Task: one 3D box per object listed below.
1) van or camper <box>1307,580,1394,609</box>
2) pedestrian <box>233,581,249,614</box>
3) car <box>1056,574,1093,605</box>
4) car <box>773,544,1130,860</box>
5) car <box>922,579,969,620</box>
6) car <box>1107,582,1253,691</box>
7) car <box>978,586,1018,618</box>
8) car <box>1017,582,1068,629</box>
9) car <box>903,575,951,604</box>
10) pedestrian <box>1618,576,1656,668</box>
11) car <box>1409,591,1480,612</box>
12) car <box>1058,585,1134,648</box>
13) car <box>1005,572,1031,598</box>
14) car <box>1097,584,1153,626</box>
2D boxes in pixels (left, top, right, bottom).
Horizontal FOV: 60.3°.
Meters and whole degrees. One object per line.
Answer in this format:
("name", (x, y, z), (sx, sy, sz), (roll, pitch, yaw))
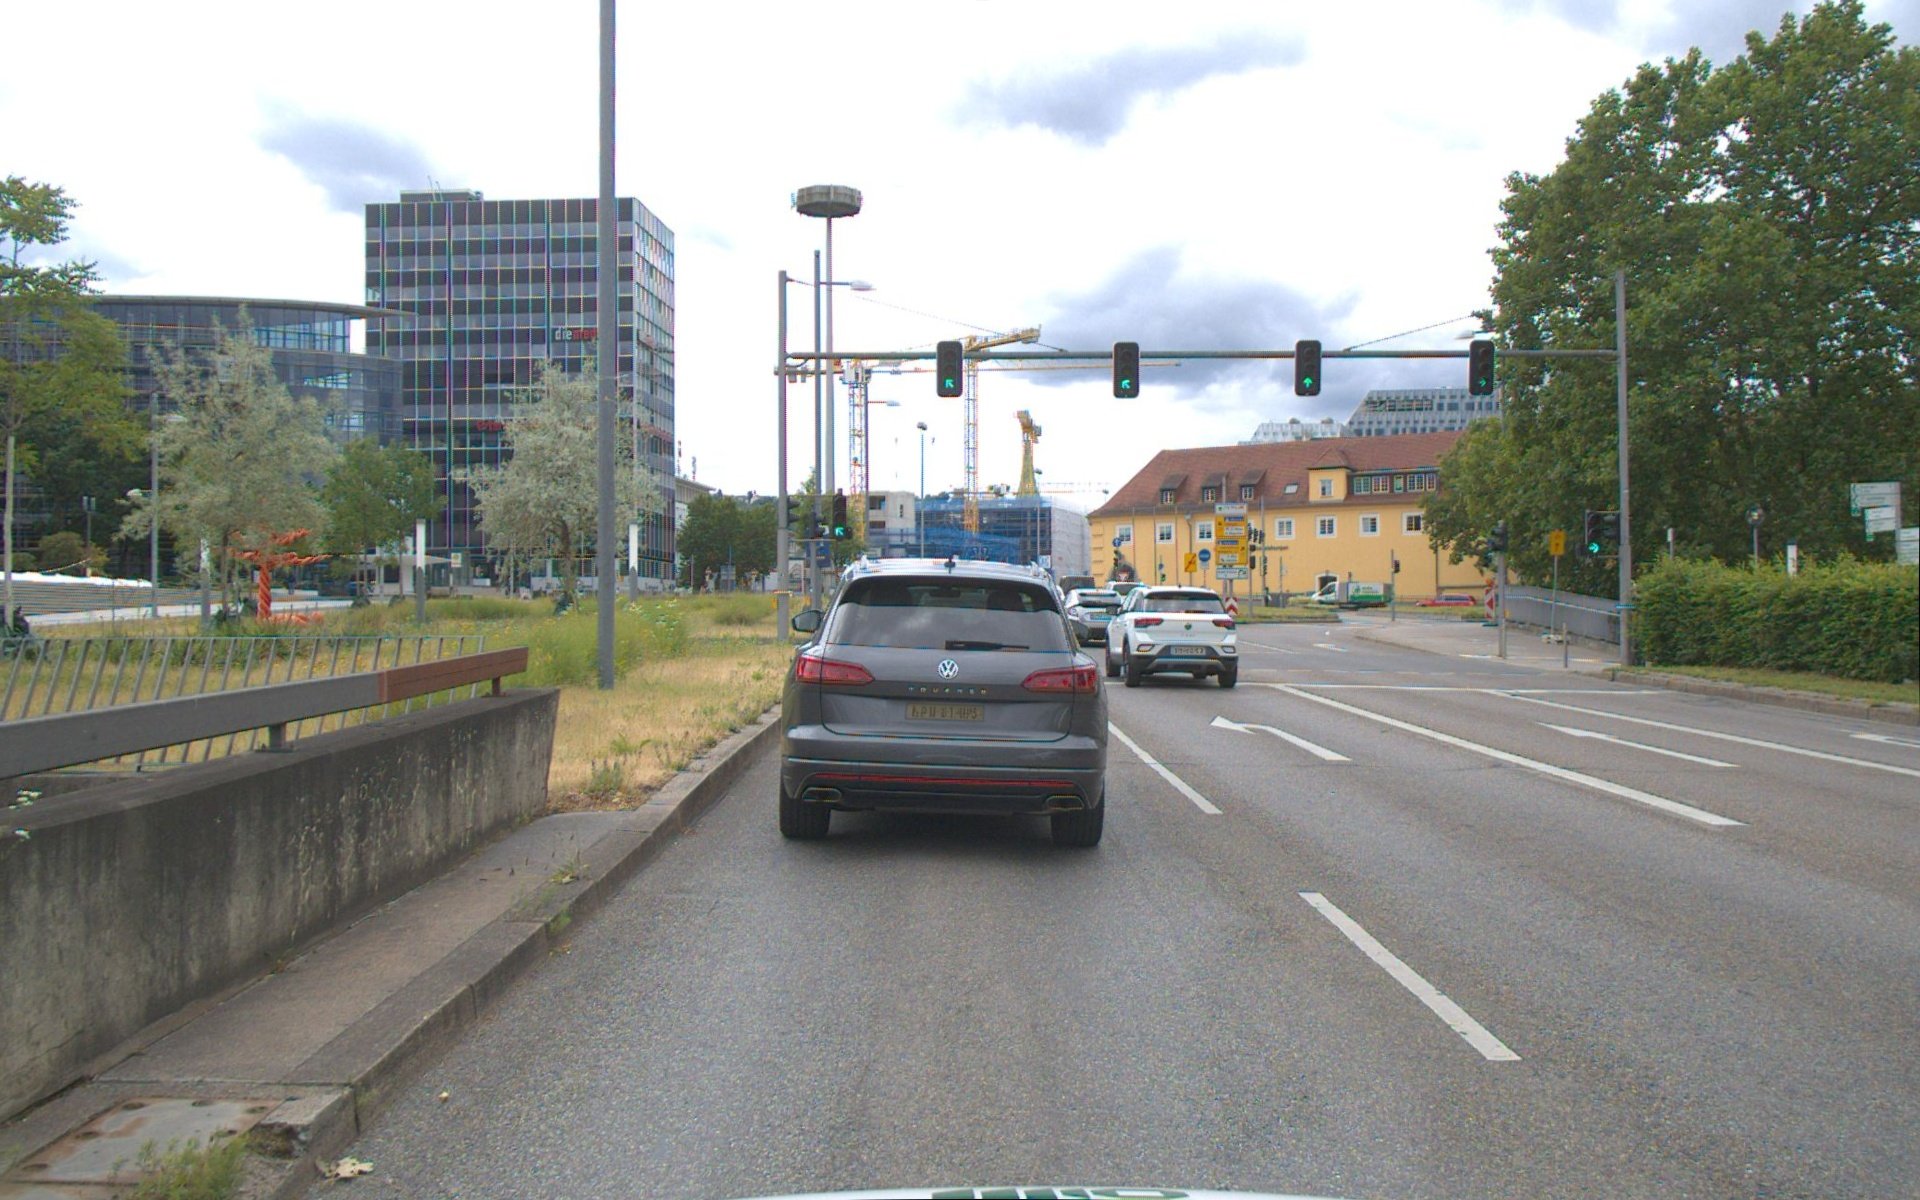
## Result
("van or camper", (28.507, -0.391, 120.876), (5.903, 2.049, 2.012), (0, 0, 36))
("pedestrian", (-36.504, -0.121, 83.950), (0.513, 1.678, 0.650), (1, 0, -2))
("car", (5.907, -0.554, 85.386), (1.683, 1.528, 3.982), (0, 1, 1))
("car", (-0.062, 0.515, 10.818), (1.893, 1.676, 4.000), (0, 1, -1))
("car", (-0.569, -0.040, 64.819), (1.777, 1.522, 3.906), (0, 1, -1))
("car", (3.509, 0.535, 27.013), (1.855, 1.613, 3.801), (0, 1, 0))
("car", (2.074, 0.099, 91.345), (2.095, 1.758, 4.070), (0, 0, 0))
("car", (2.813, 0.151, 56.678), (1.683, 1.528, 3.983), (0, 1, 3))
("car", (-1.826, -0.572, 90.304), (2.202, 1.528, 4.605), (0, 1, -7))
("pedestrian", (13.381, 0.433, 32.708), (0.469, 1.794, 0.620), (0, 0, -4))
("car", (34.256, 0.075, 116.977), (4.592, 1.445, 1.593), (0, 0, 32))
("car", (3.475, 0.395, 42.891), (1.683, 1.528, 4.144), (0, 1, 1))
("car", (4.643, -1.235, 132.678), (1.953, 2.049, 4.000), (0, 1, -1))
("car", (6.283, 0.173, 63.344), (1.766, 1.528, 3.982), (0, 1, 1))
